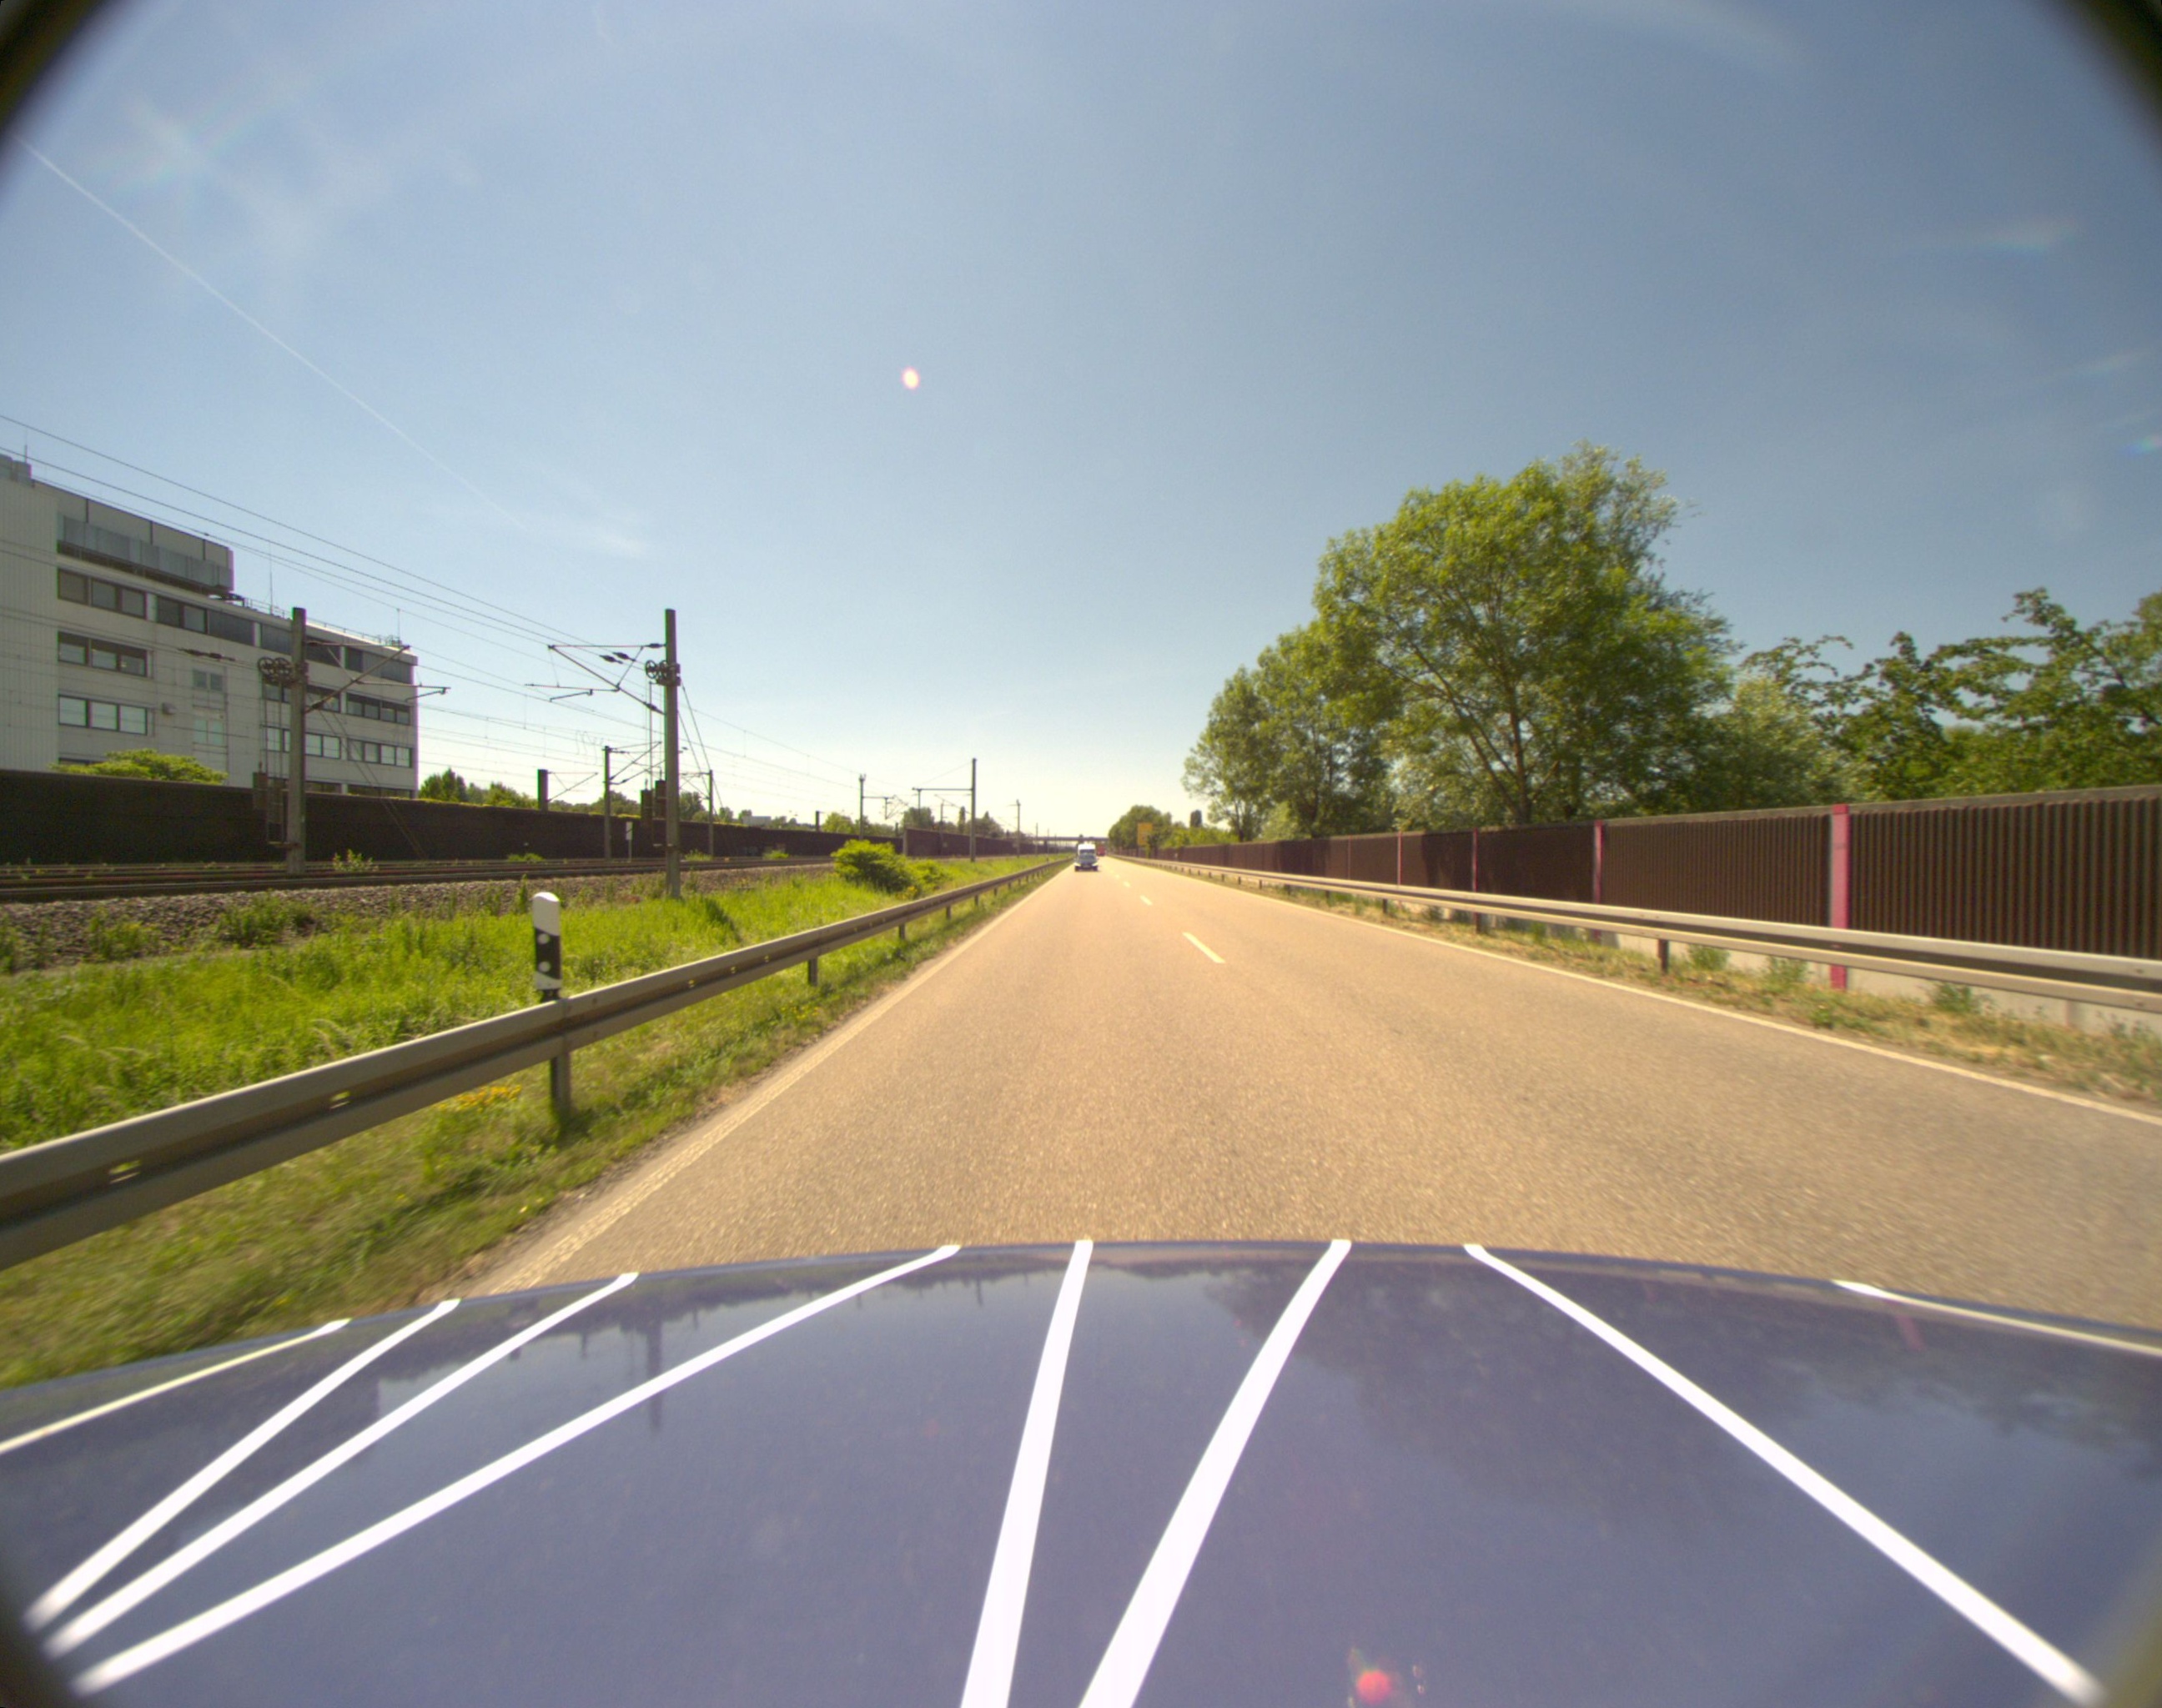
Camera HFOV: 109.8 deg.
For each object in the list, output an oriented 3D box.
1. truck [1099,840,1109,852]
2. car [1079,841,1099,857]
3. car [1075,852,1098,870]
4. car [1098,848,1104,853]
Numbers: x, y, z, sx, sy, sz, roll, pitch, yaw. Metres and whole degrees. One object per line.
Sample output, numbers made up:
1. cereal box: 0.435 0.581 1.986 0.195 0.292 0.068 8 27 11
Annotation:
1. truck: 7.533 -2.615 249.708 3.132 3.942 9.717 -2 1 1
2. car: 0.895 -0.586 86.136 2.161 1.702 4.492 -2 1 1
3. car: 0.423 0.517 61.240 1.758 1.313 4.000 -2 1 1
4. car: 6.206 -1.141 237.345 1.994 1.486 4.492 -2 1 1
